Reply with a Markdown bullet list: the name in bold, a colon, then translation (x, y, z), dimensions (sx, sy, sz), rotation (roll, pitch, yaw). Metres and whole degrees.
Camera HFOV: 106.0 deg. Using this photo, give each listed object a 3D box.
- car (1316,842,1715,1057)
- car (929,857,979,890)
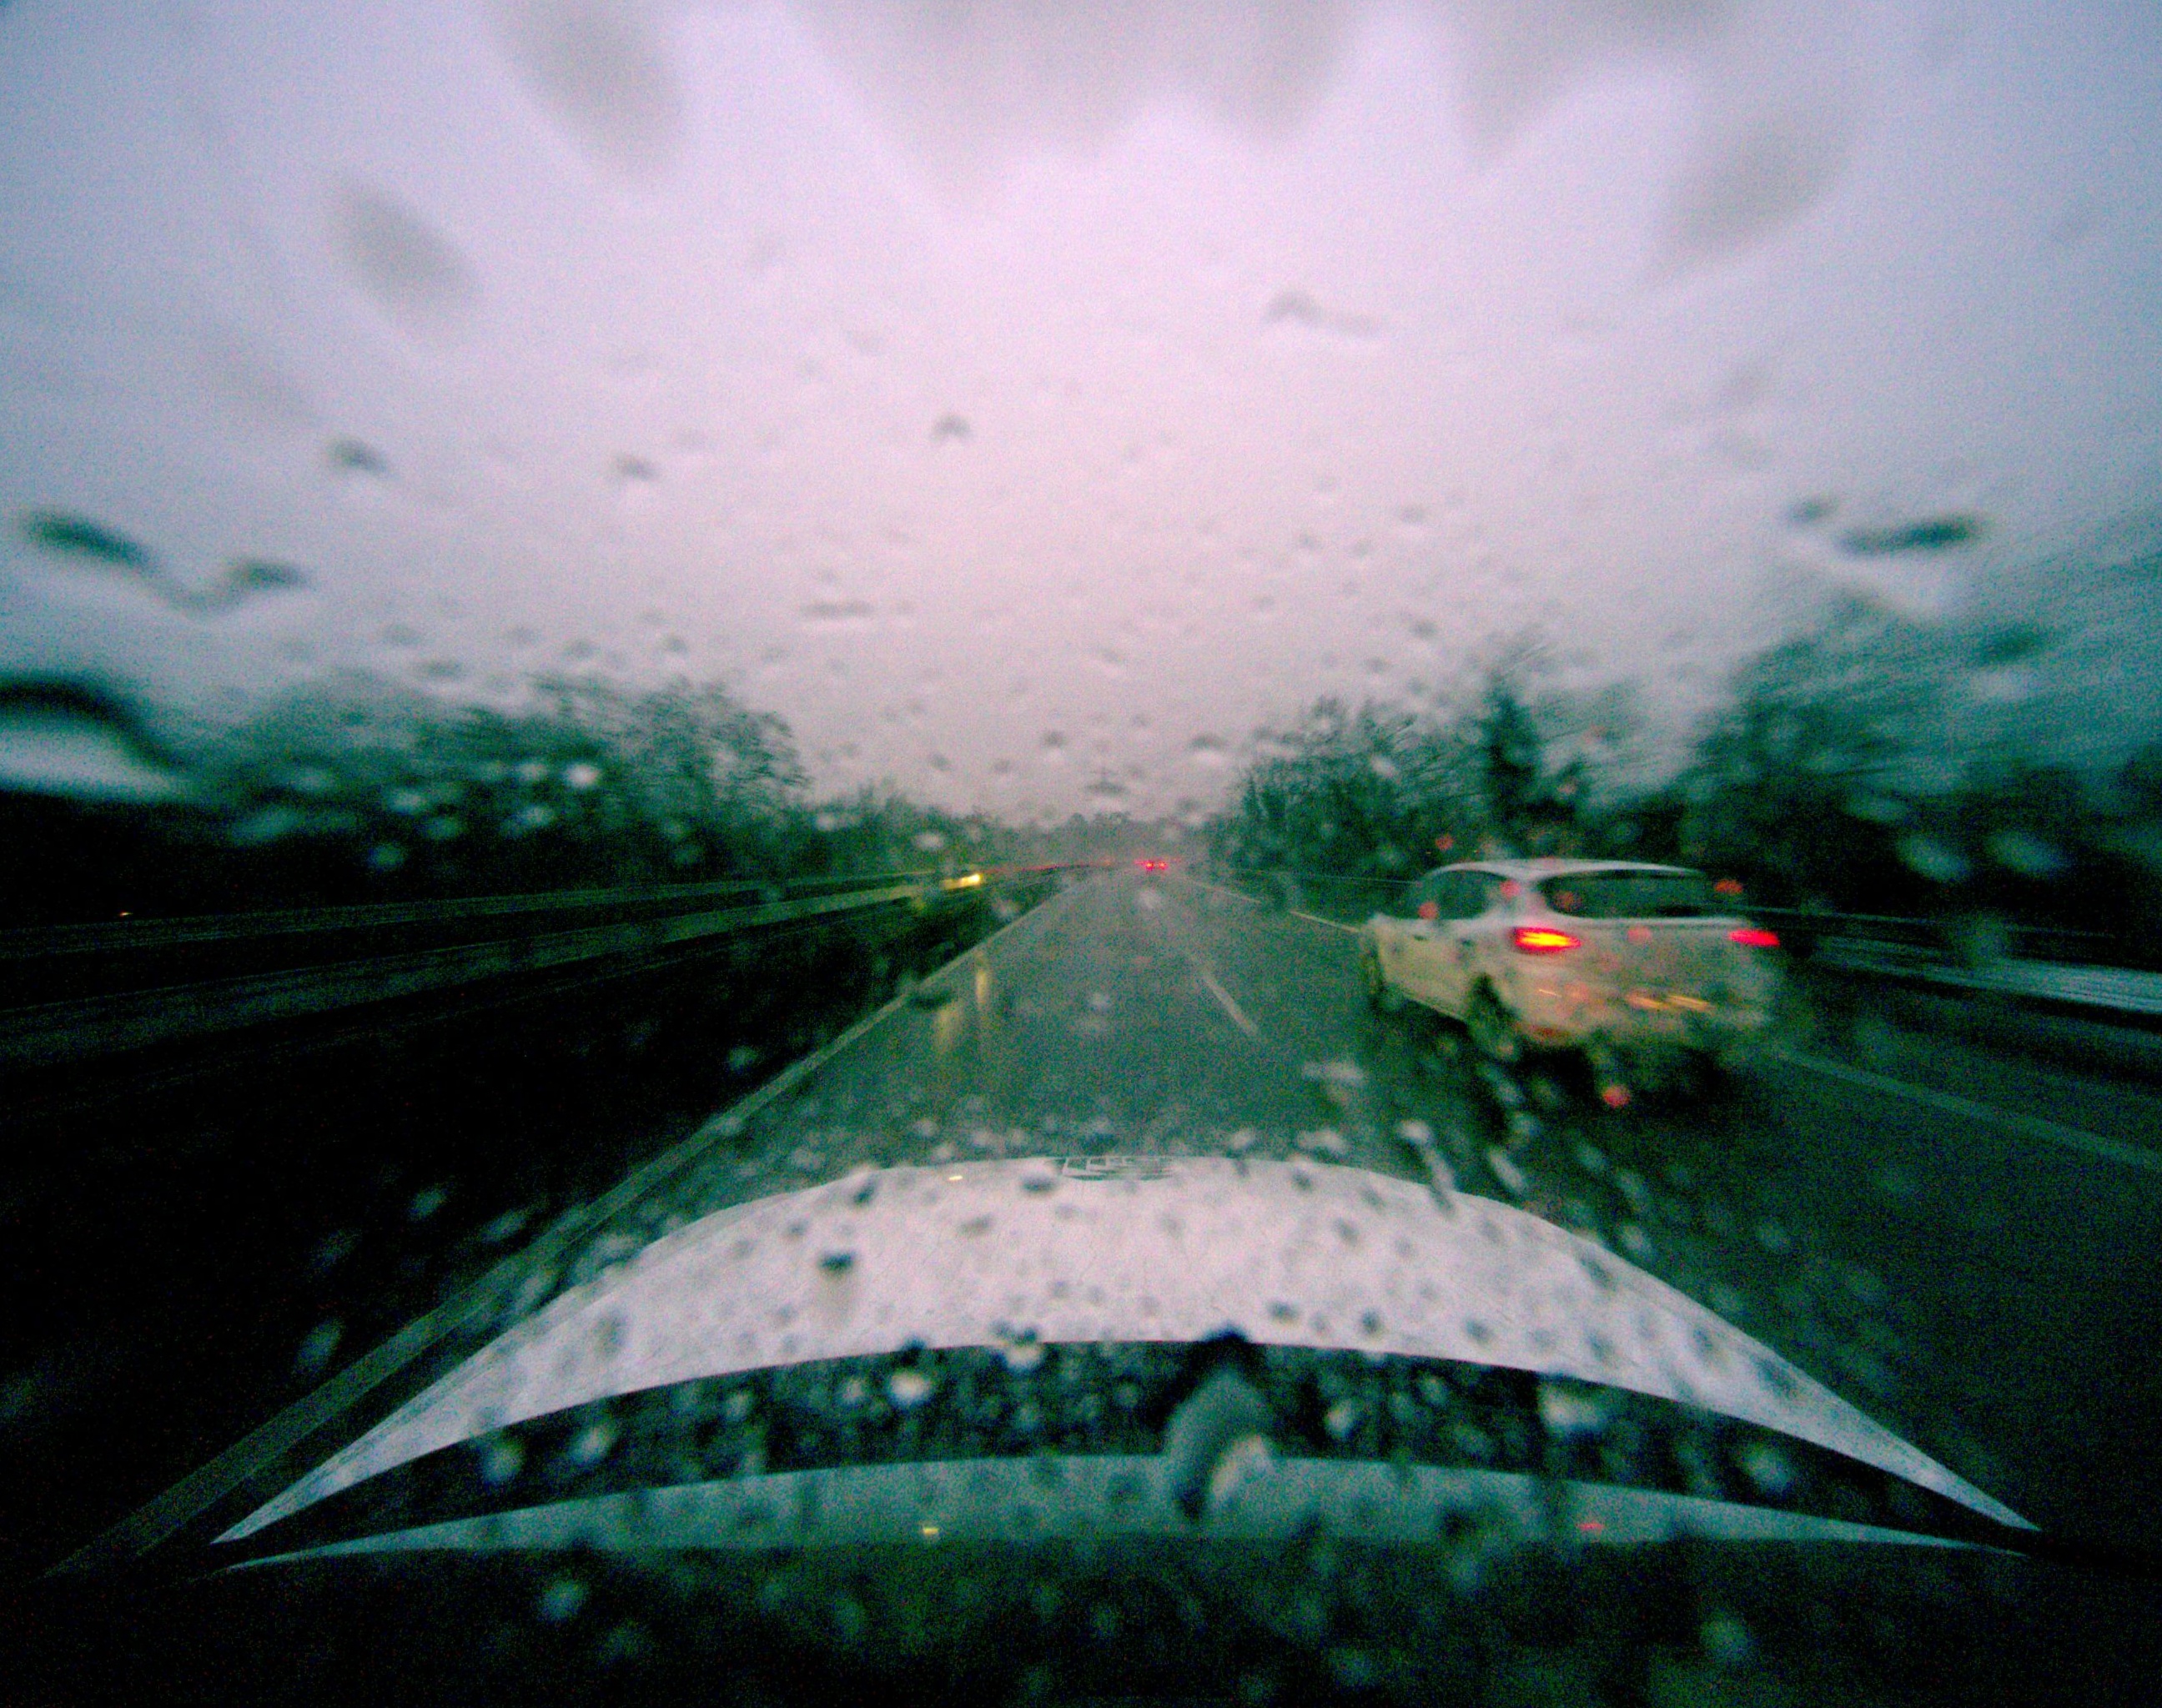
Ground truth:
- **car**: translation (3.732, 0.689, 7.919), dimensions (1.791, 1.503, 4.001), rotation (-2, 0, 1)
- **car**: translation (-6.087, 0.907, 39.434), dimensions (1.602, 1.474, 4.179), rotation (-1, 0, 2)
